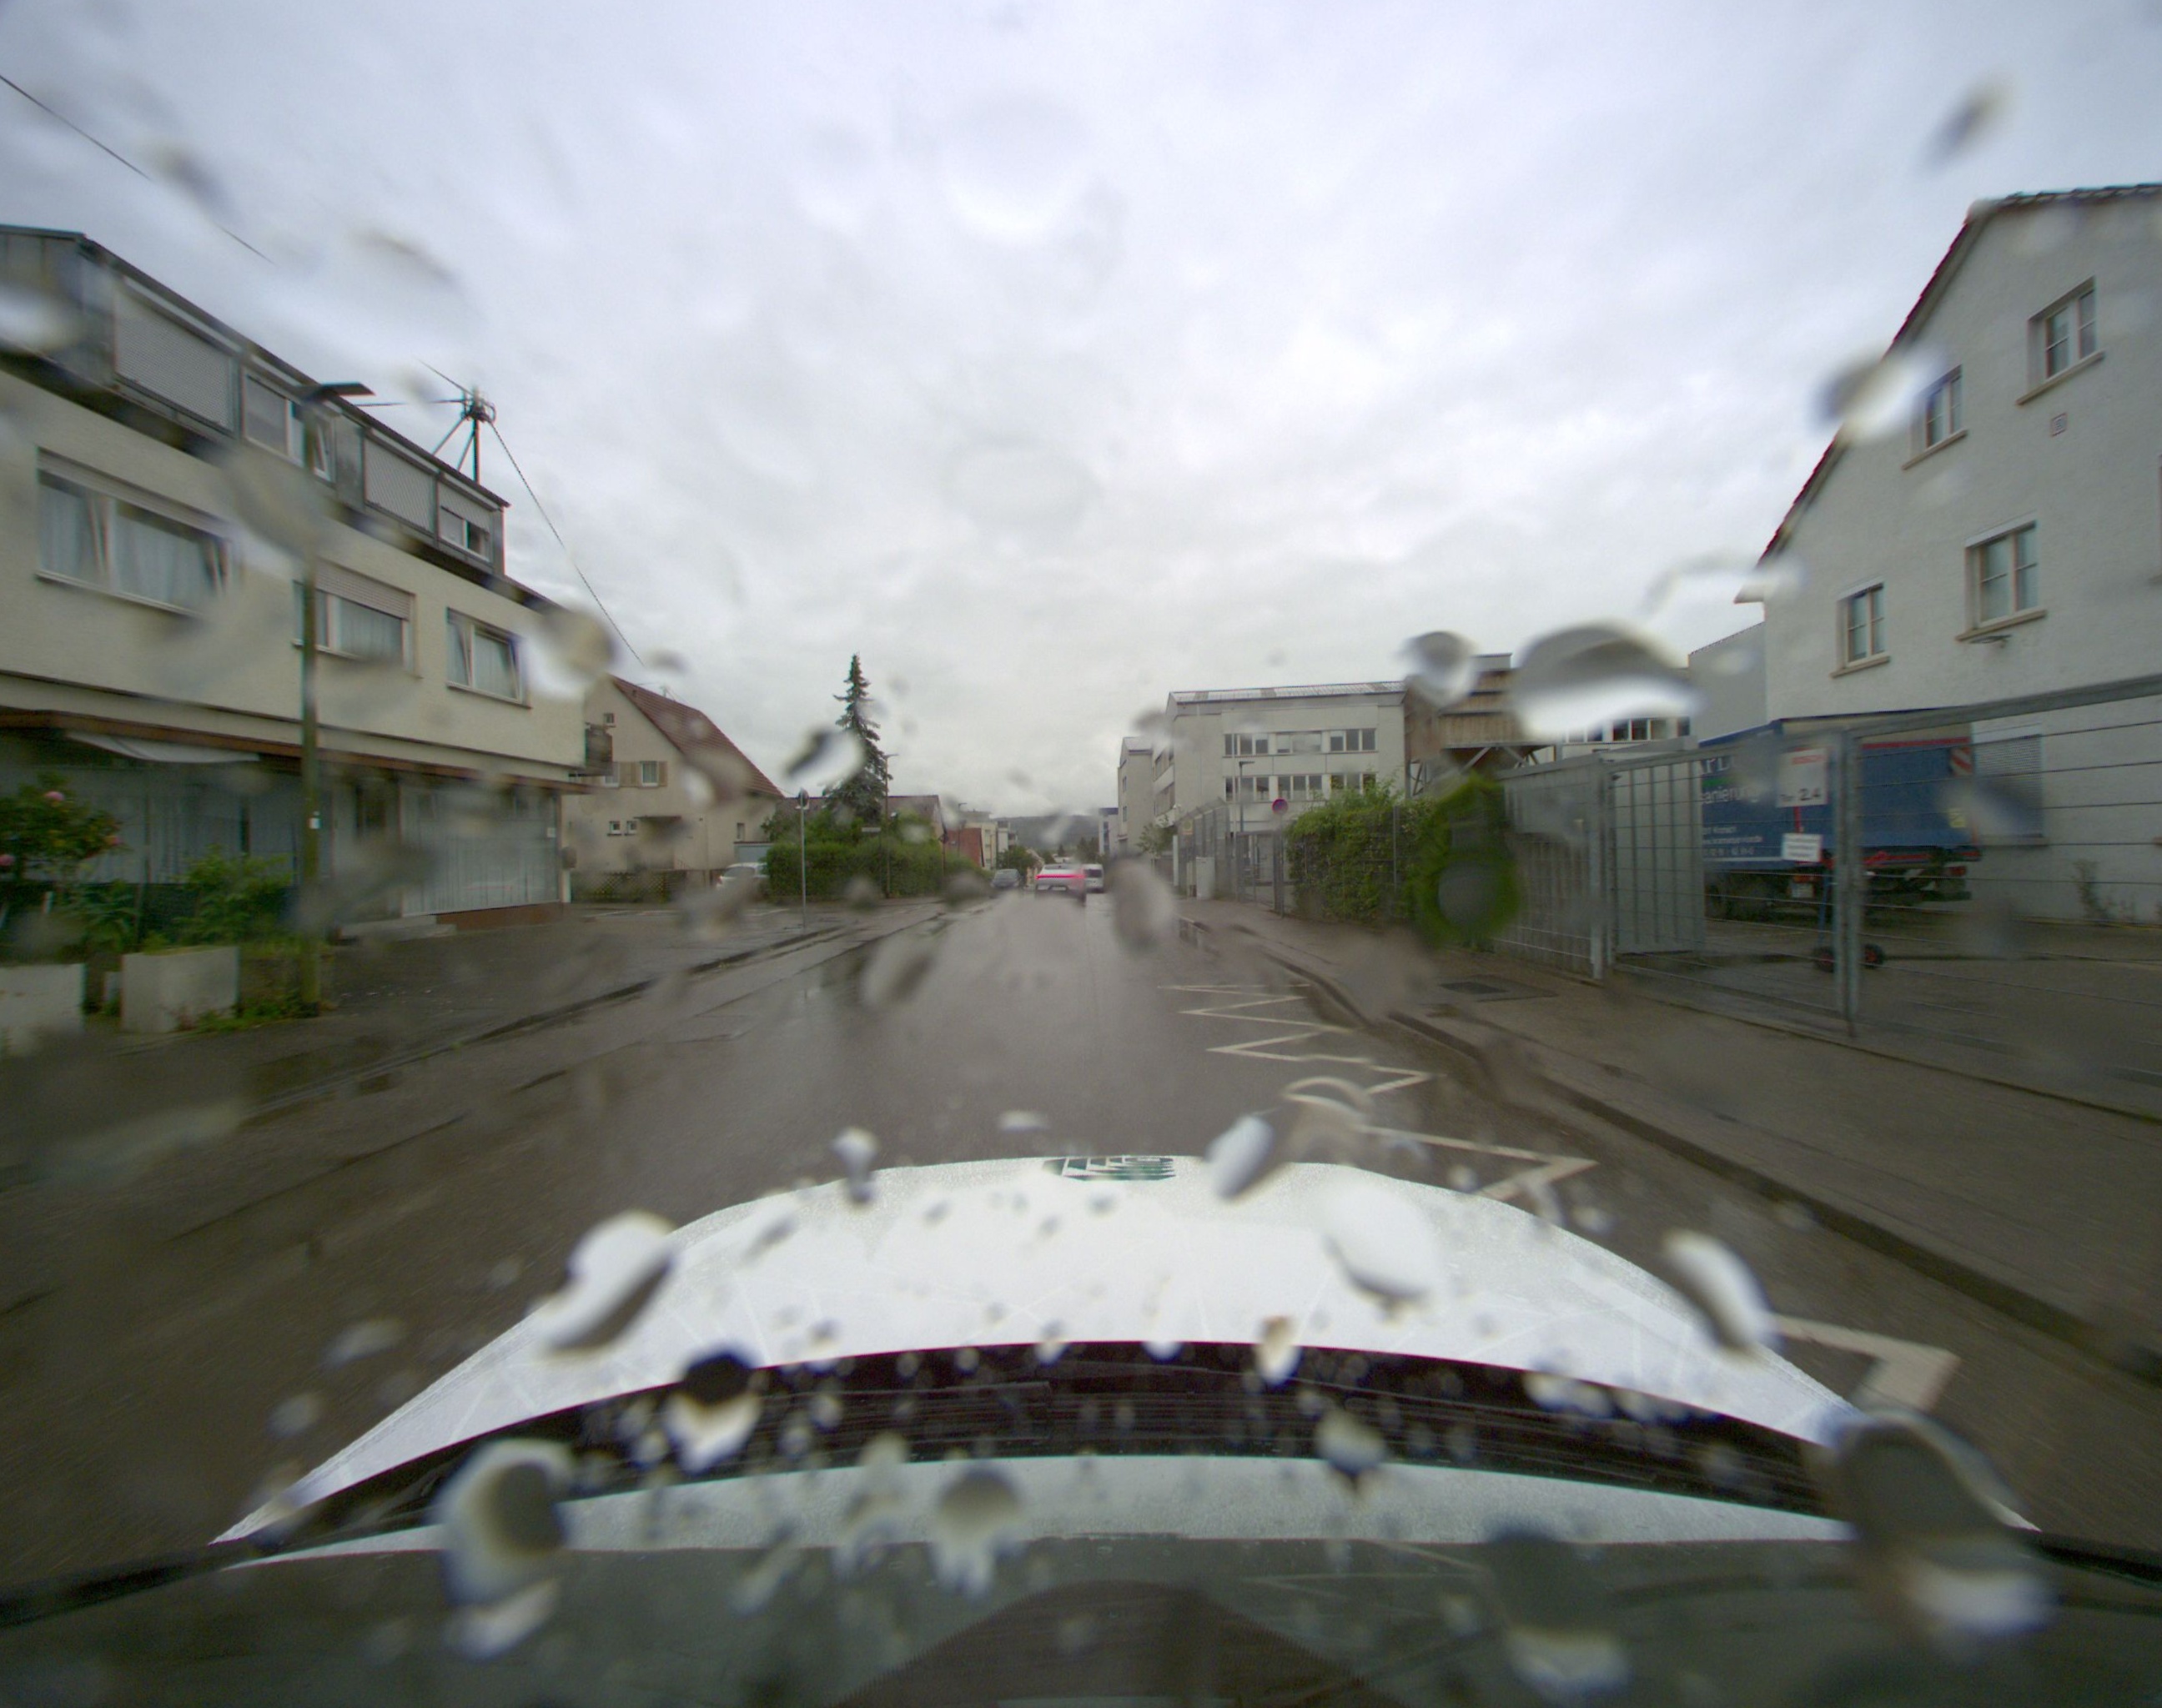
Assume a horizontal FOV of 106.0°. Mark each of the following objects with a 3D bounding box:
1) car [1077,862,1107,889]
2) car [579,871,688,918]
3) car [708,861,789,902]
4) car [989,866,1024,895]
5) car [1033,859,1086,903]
[{"bbox_3d":[0.849,1.723,64.529,1.990,2.014,3.993,-2,-2,-4],"label":"car"},{"bbox_3d":[-17.363,1.595,31.888,1.854,1.659,4.540,-1,-3,-2],"label":"car"},{"bbox_3d":[-14.004,1.108,34.517,1.789,1.508,3.998,-1,1,-1],"label":"car"},{"bbox_3d":[-4.139,1.447,45.468,1.671,1.528,3.997,-1,-1,-2],"label":"car"},{"bbox_3d":[-0.825,1.029,33.263,1.987,1.502,4.669,-1,1,-1],"label":"car"}]
